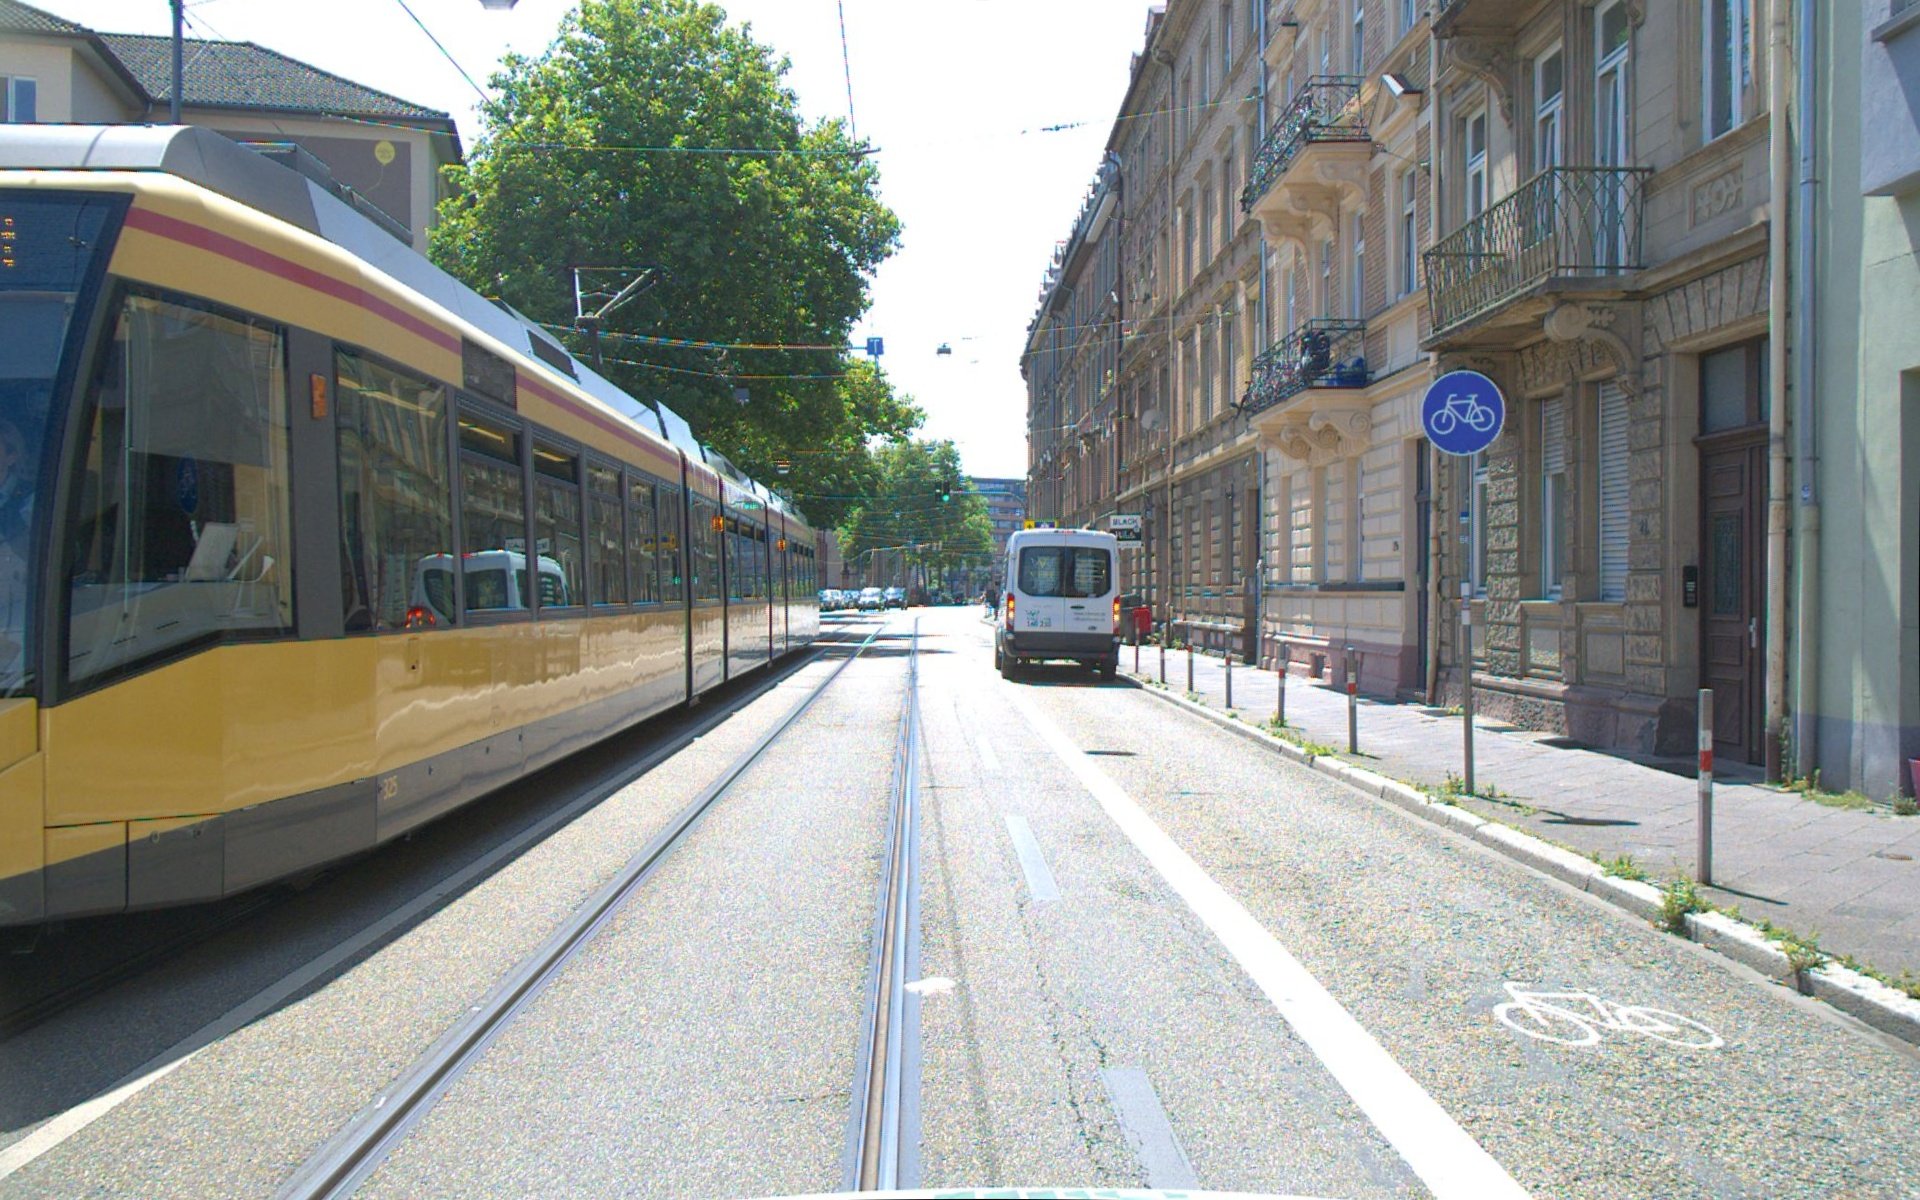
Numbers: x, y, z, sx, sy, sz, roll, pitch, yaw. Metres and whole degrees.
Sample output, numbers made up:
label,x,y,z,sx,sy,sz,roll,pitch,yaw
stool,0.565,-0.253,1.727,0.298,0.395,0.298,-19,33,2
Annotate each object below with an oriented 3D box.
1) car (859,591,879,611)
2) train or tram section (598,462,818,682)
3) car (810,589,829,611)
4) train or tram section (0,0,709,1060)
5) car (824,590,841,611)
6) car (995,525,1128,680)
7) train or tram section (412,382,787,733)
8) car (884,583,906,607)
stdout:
label,x,y,z,sx,sy,sz,roll,pitch,yaw
car,-6.968,0.066,127.061,1.498,1.433,3.487,1,0,-4
train or tram section,-4.748,-0.505,34.161,2.901,3.643,13.418,0,0,-2
car,-11.473,0.025,134.896,1.425,1.761,3.191,1,0,-4
train or tram section,-4.046,-0.454,11.739,2.901,3.643,13.418,0,0,-2
car,-10.777,0.010,140.041,1.425,1.761,3.191,1,0,-4
car,1.745,0.026,30.136,2.025,2.544,5.453,1,0,0
train or tram section,-4.440,-0.482,23.918,2.901,3.643,13.418,0,0,-2
car,-5.296,-0.387,134.244,1.641,1.892,3.997,1,0,-4
